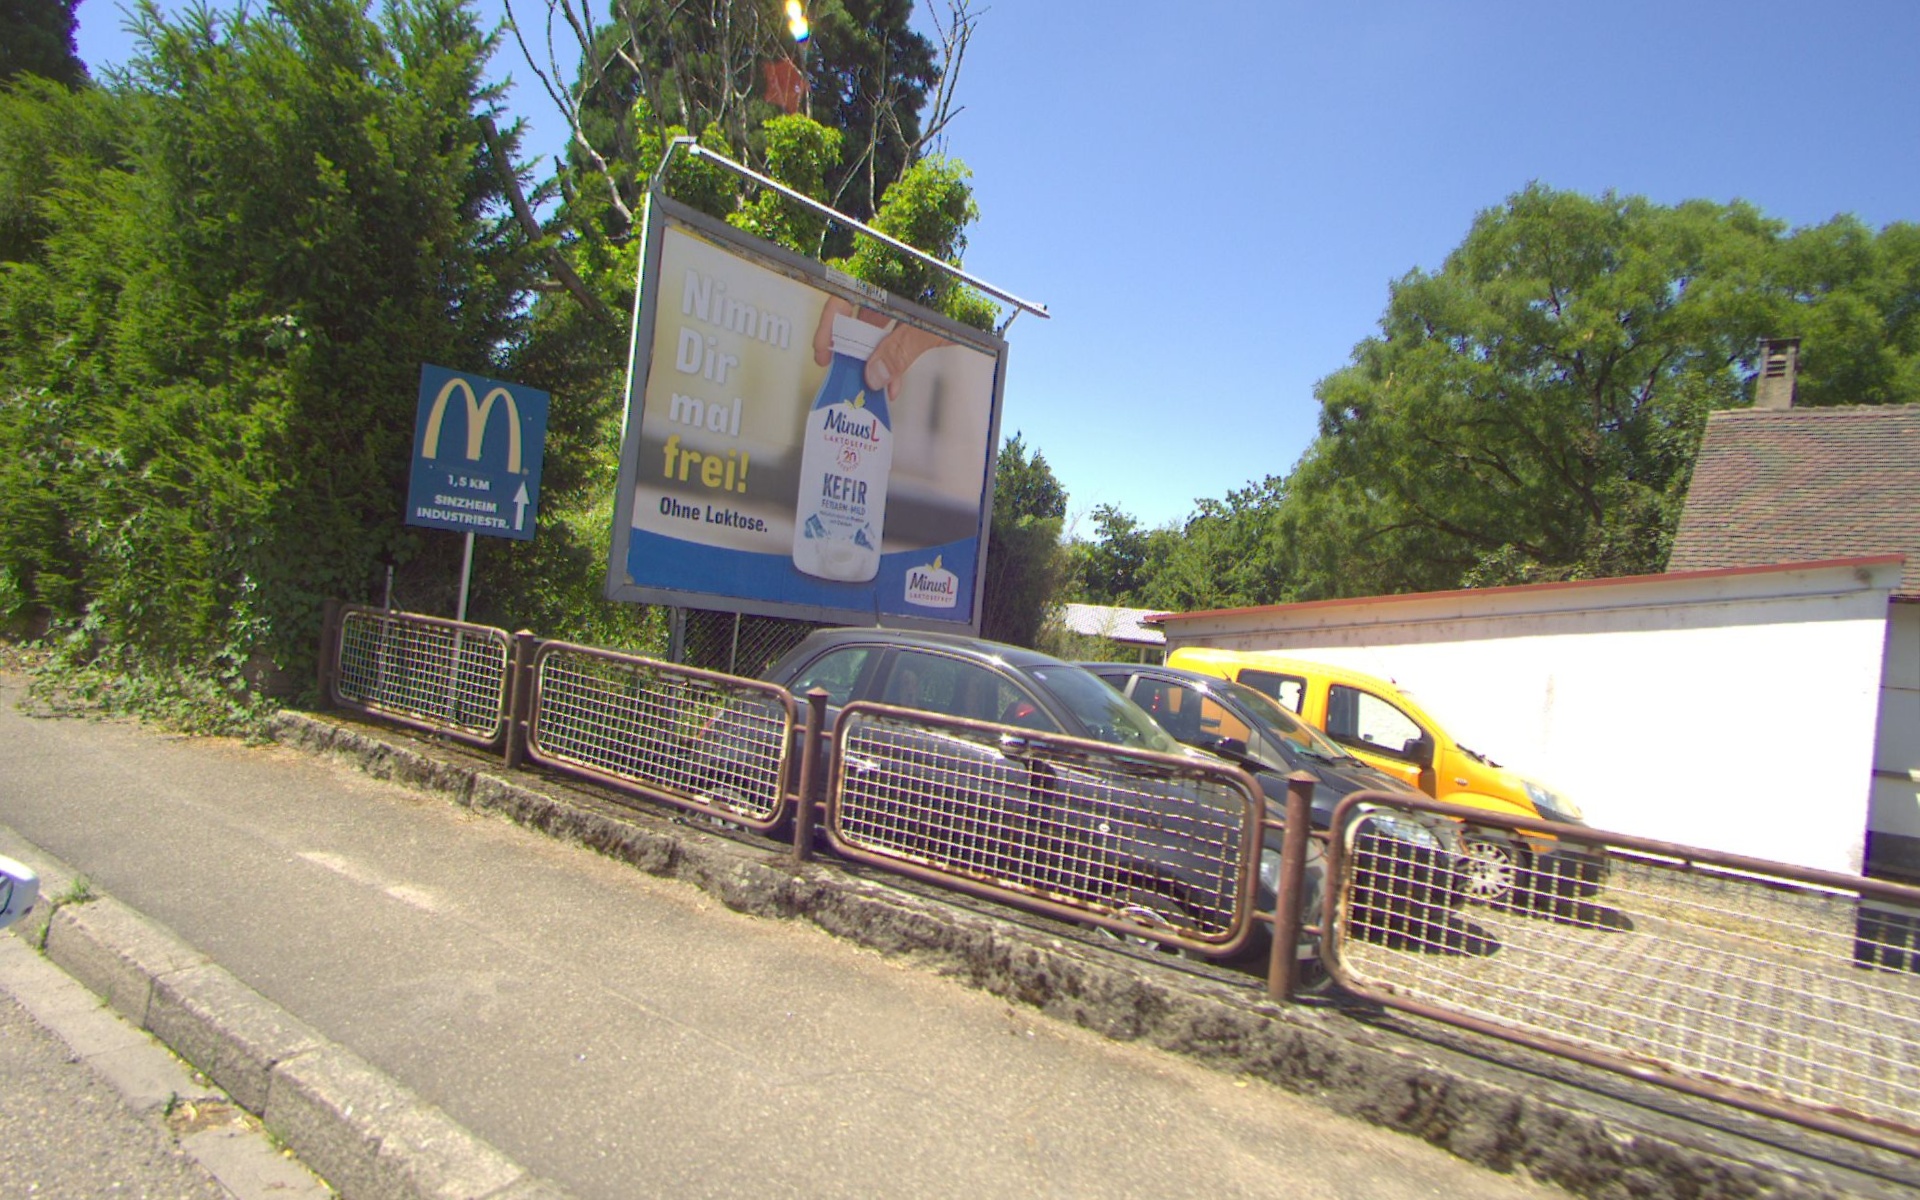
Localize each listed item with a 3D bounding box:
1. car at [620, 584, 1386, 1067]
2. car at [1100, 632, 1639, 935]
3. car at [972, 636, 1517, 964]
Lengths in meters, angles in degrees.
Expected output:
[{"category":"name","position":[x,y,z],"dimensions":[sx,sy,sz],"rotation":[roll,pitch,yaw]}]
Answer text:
[{"category":"car","position":[0.169,0.913,5.254],"dimensions":[3.497,1.474,1.637],"rotation":[6,-5,31]},{"category":"car","position":[3.634,1.511,9.263],"dimensions":[4.097,1.818,1.780],"rotation":[6,-5,32]},{"category":"car","position":[1.983,1.290,7.386],"dimensions":[3.344,1.559,1.633],"rotation":[5,-5,39]}]
